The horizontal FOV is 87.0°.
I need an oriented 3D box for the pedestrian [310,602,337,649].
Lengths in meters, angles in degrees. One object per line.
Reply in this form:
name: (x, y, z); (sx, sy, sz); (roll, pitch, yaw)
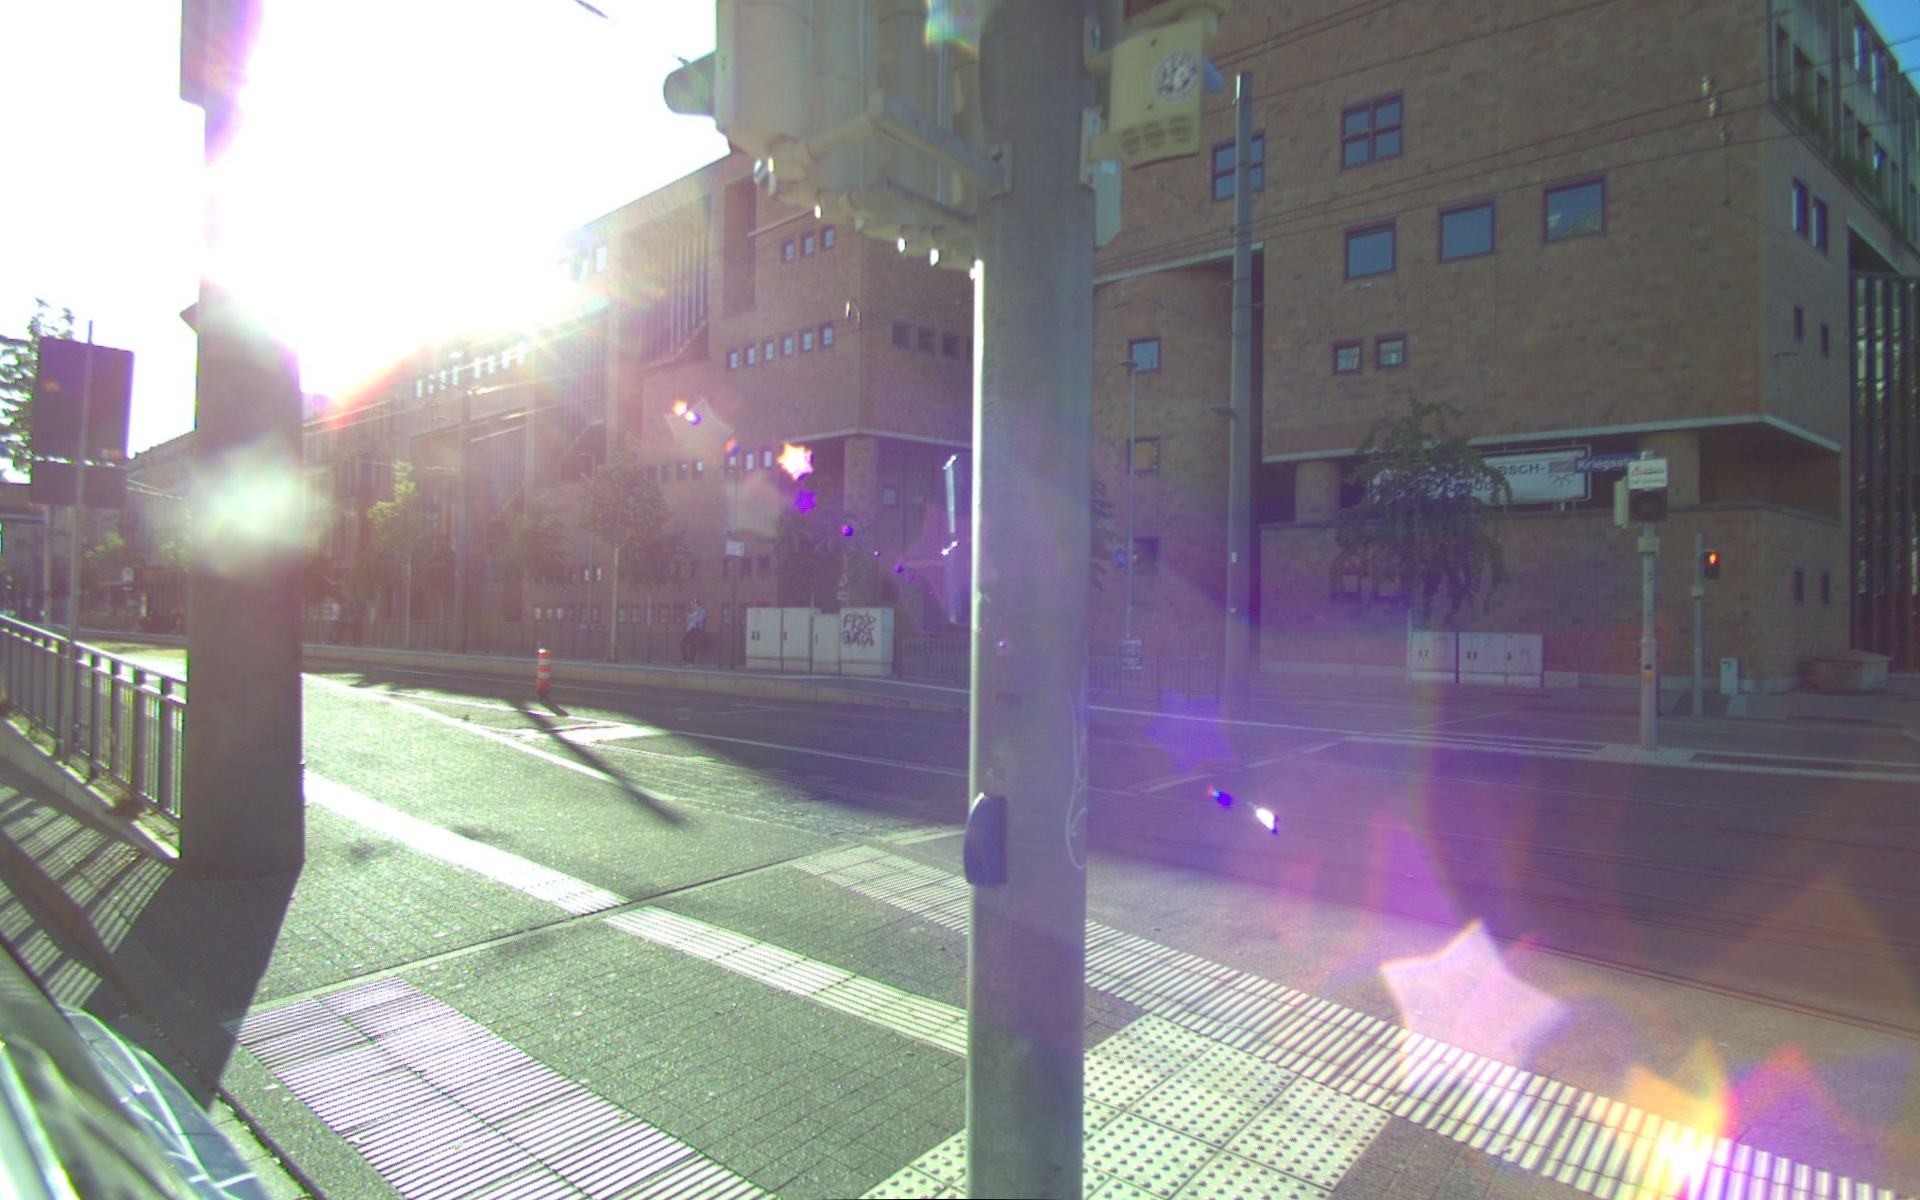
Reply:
pedestrian: (-23.795, 0.958, 37.829); (0.585, 1.755, 0.684); (-1, -2, 37)

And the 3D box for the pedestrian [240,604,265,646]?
pedestrian: (-30.098, 1.059, 43.049); (0.585, 1.755, 0.684); (-1, -2, 37)

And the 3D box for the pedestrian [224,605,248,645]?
pedestrian: (-32.188, 1.098, 45.002); (0.585, 1.755, 0.684); (-1, -2, 37)

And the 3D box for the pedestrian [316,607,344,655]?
pedestrian: (-23.296, 1.145, 37.422); (0.585, 1.755, 0.684); (-1, -2, 37)

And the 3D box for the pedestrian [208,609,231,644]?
pedestrian: (-34.181, 1.221, 46.701); (0.585, 1.587, 0.684); (-1, -2, 37)

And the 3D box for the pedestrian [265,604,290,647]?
pedestrian: (-27.972, 1.049, 41.466); (0.585, 1.755, 0.684); (-1, -2, 37)

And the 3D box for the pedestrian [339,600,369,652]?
pedestrian: (-20.661, 0.877, 34.532); (0.585, 1.755, 0.684); (-1, -2, 37)

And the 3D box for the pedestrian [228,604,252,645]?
pedestrian: (-31.303, 1.065, 44.018); (0.585, 1.755, 0.684); (-1, -2, 37)

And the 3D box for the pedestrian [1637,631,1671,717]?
pedestrian: (13.547, 1.429, 19.758); (0.503, 1.629, 0.505); (0, 0, 30)

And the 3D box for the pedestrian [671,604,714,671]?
pedestrian: (-6.304, 0.882, 23.856); (0.653, 1.546, 0.693); (-1, -2, 38)
